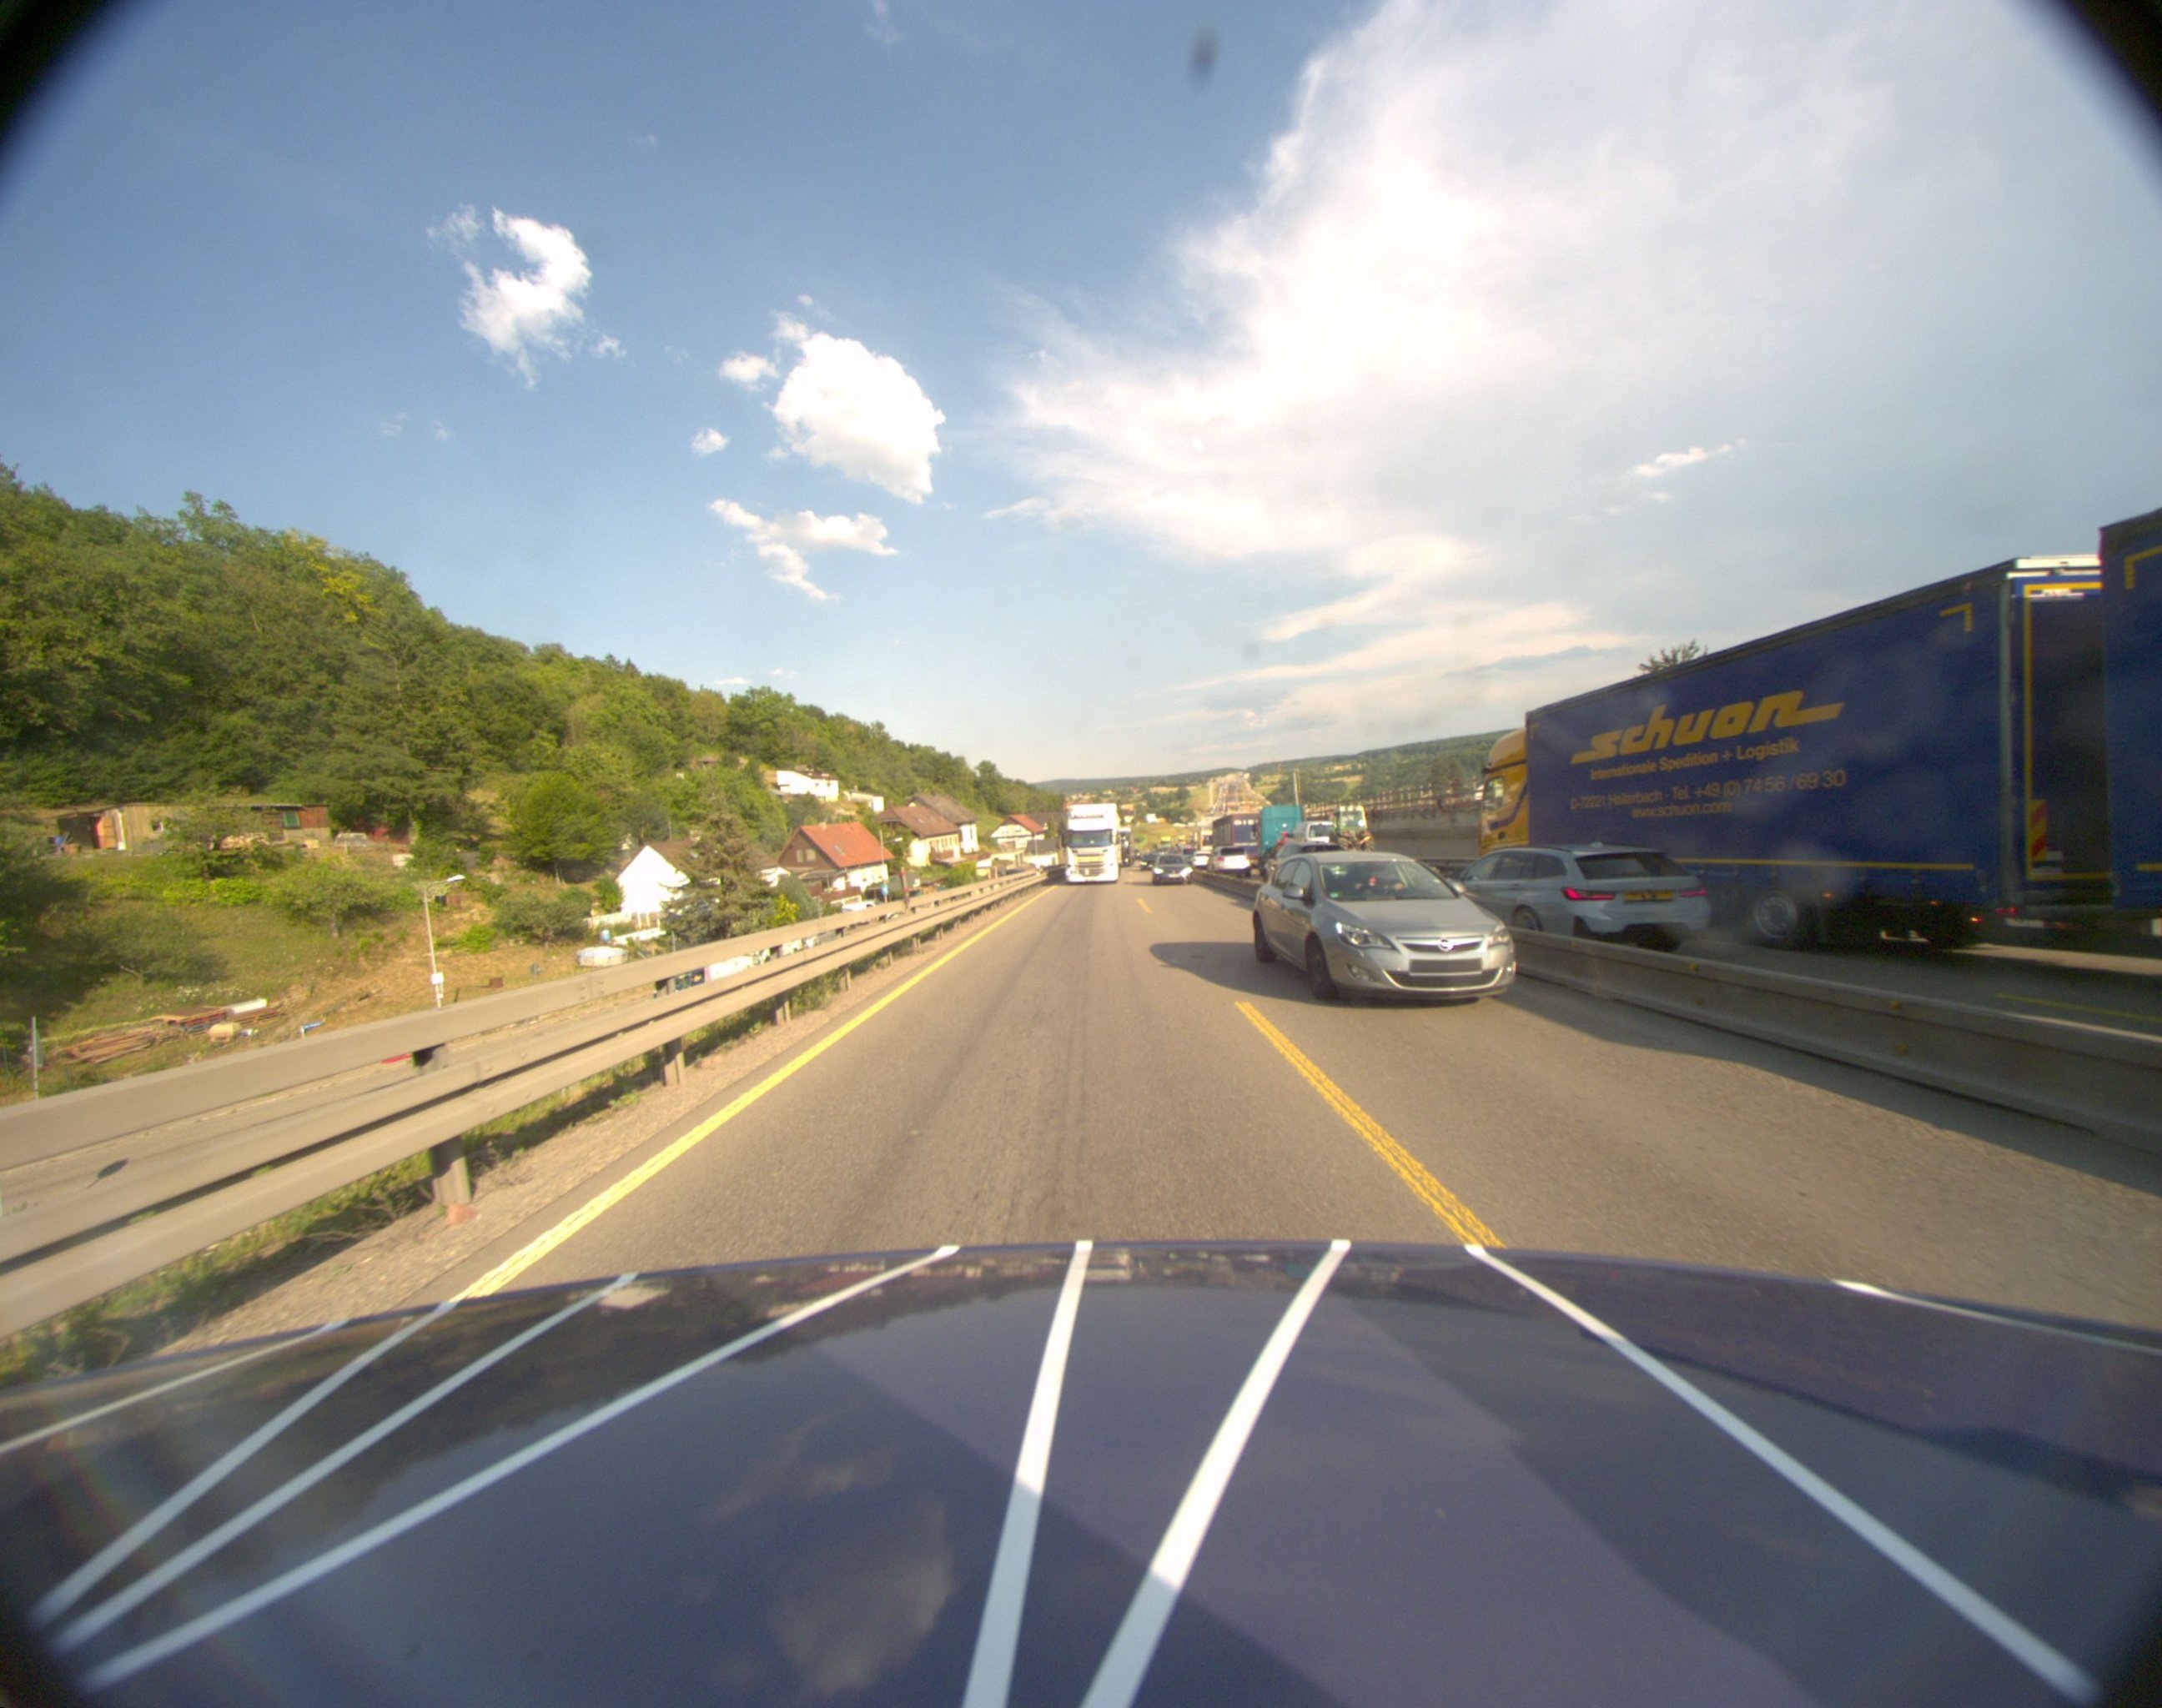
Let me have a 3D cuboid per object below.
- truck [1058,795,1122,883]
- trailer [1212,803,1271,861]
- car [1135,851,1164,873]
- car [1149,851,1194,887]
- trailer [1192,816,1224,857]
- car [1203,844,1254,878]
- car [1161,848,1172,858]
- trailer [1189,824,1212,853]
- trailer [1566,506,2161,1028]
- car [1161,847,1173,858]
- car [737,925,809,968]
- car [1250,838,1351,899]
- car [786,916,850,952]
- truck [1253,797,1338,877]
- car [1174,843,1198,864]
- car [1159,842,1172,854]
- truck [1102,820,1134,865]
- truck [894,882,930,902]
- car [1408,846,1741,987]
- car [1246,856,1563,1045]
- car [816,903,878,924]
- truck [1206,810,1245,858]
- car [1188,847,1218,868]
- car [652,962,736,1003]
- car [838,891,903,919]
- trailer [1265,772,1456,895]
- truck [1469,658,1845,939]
[{"bbox_3d":[0.800,-0.849,42.636,2.892,4.059,13.893,-1,1,3],"label":"truck"},{"bbox_3d":[12.483,-1.645,60.314,2.721,4.099,12.493,0,1,3],"label":"trailer"},{"bbox_3d":[5.471,0.619,61.137,1.998,1.565,3.999,-1,1,1],"label":"car"},{"bbox_3d":[4.150,0.654,35.394,1.822,1.433,4.001,-3,0,4],"label":"car"},{"bbox_3d":[14.739,-2.000,88.411,2.917,4.440,7.153,-2,1,5],"label":"trailer"},{"bbox_3d":[7.930,0.339,41.295,1.964,1.635,4.847,-1,1,2],"label":"car"},{"bbox_3d":[14.727,-0.168,130.683,1.778,1.448,4.815,-3,2,6],"label":"car"},{"bbox_3d":[18.244,-2.404,116.428,2.781,4.179,13.836,-1,1,6],"label":"trailer"},{"bbox_3d":[9.866,-0.687,5.193,2.721,4.111,16.749,-1,1,1],"label":"trailer"},{"bbox_3d":[14.045,-0.293,123.842,1.770,1.542,4.479,-3,2,6],"label":"car"},{"bbox_3d":[-20.576,6.133,50.980,1.865,1.975,5.054,-1,3,12],"label":"car"},{"bbox_3d":[6.812,0.381,24.126,1.931,1.692,4.690,-1,1,1],"label":"car"},{"bbox_3d":[-19.356,5.857,56.177,1.998,1.907,4.866,-1,3,14],"label":"car"},{"bbox_3d":[10.964,-0.847,39.577,2.755,3.784,7.112,0,1,3],"label":"truck"},{"bbox_3d":[9.936,-0.092,72.374,1.827,1.922,5.130,1,2,3],"label":"car"},{"bbox_3d":[12.742,-0.872,114.630,1.866,1.577,4.746,-5,2,6],"label":"car"},{"bbox_3d":[4.100,-1.184,81.838,2.787,4.505,7.193,-3,0,6],"label":"truck"},{"bbox_3d":[-18.271,4.095,82.073,2.002,1.729,3.990,-11,5,-38],"label":"truck"},{"bbox_3d":[6.555,0.678,10.888,1.793,1.489,4.724,-1,1,1],"label":"car"},{"bbox_3d":[3.163,0.821,8.441,1.810,1.478,4.118,-2,1,1],"label":"car"},{"bbox_3d":[-21.195,5.405,68.792,5.099,1.548,1.716,-2,3,11],"label":"car"},{"bbox_3d":[12.950,-1.755,68.323,2.755,4.091,5.031,0,1,3],"label":"truck"},{"bbox_3d":[9.237,0.248,57.772,1.807,1.513,4.817,0,1,4],"label":"car"},{"bbox_3d":[-20.893,6.912,41.143,1.769,1.588,3.623,-5,-2,25],"label":"car"},{"bbox_3d":[-19.981,4.826,72.151,5.475,2.251,2.001,-3,3,11],"label":"car"},{"bbox_3d":[10.588,-0.737,31.570,2.755,3.794,16.047,0,1,3],"label":"trailer"},{"bbox_3d":[10.060,-0.882,14.232,2.708,4.117,5.793,-1,1,1],"label":"truck"}]
